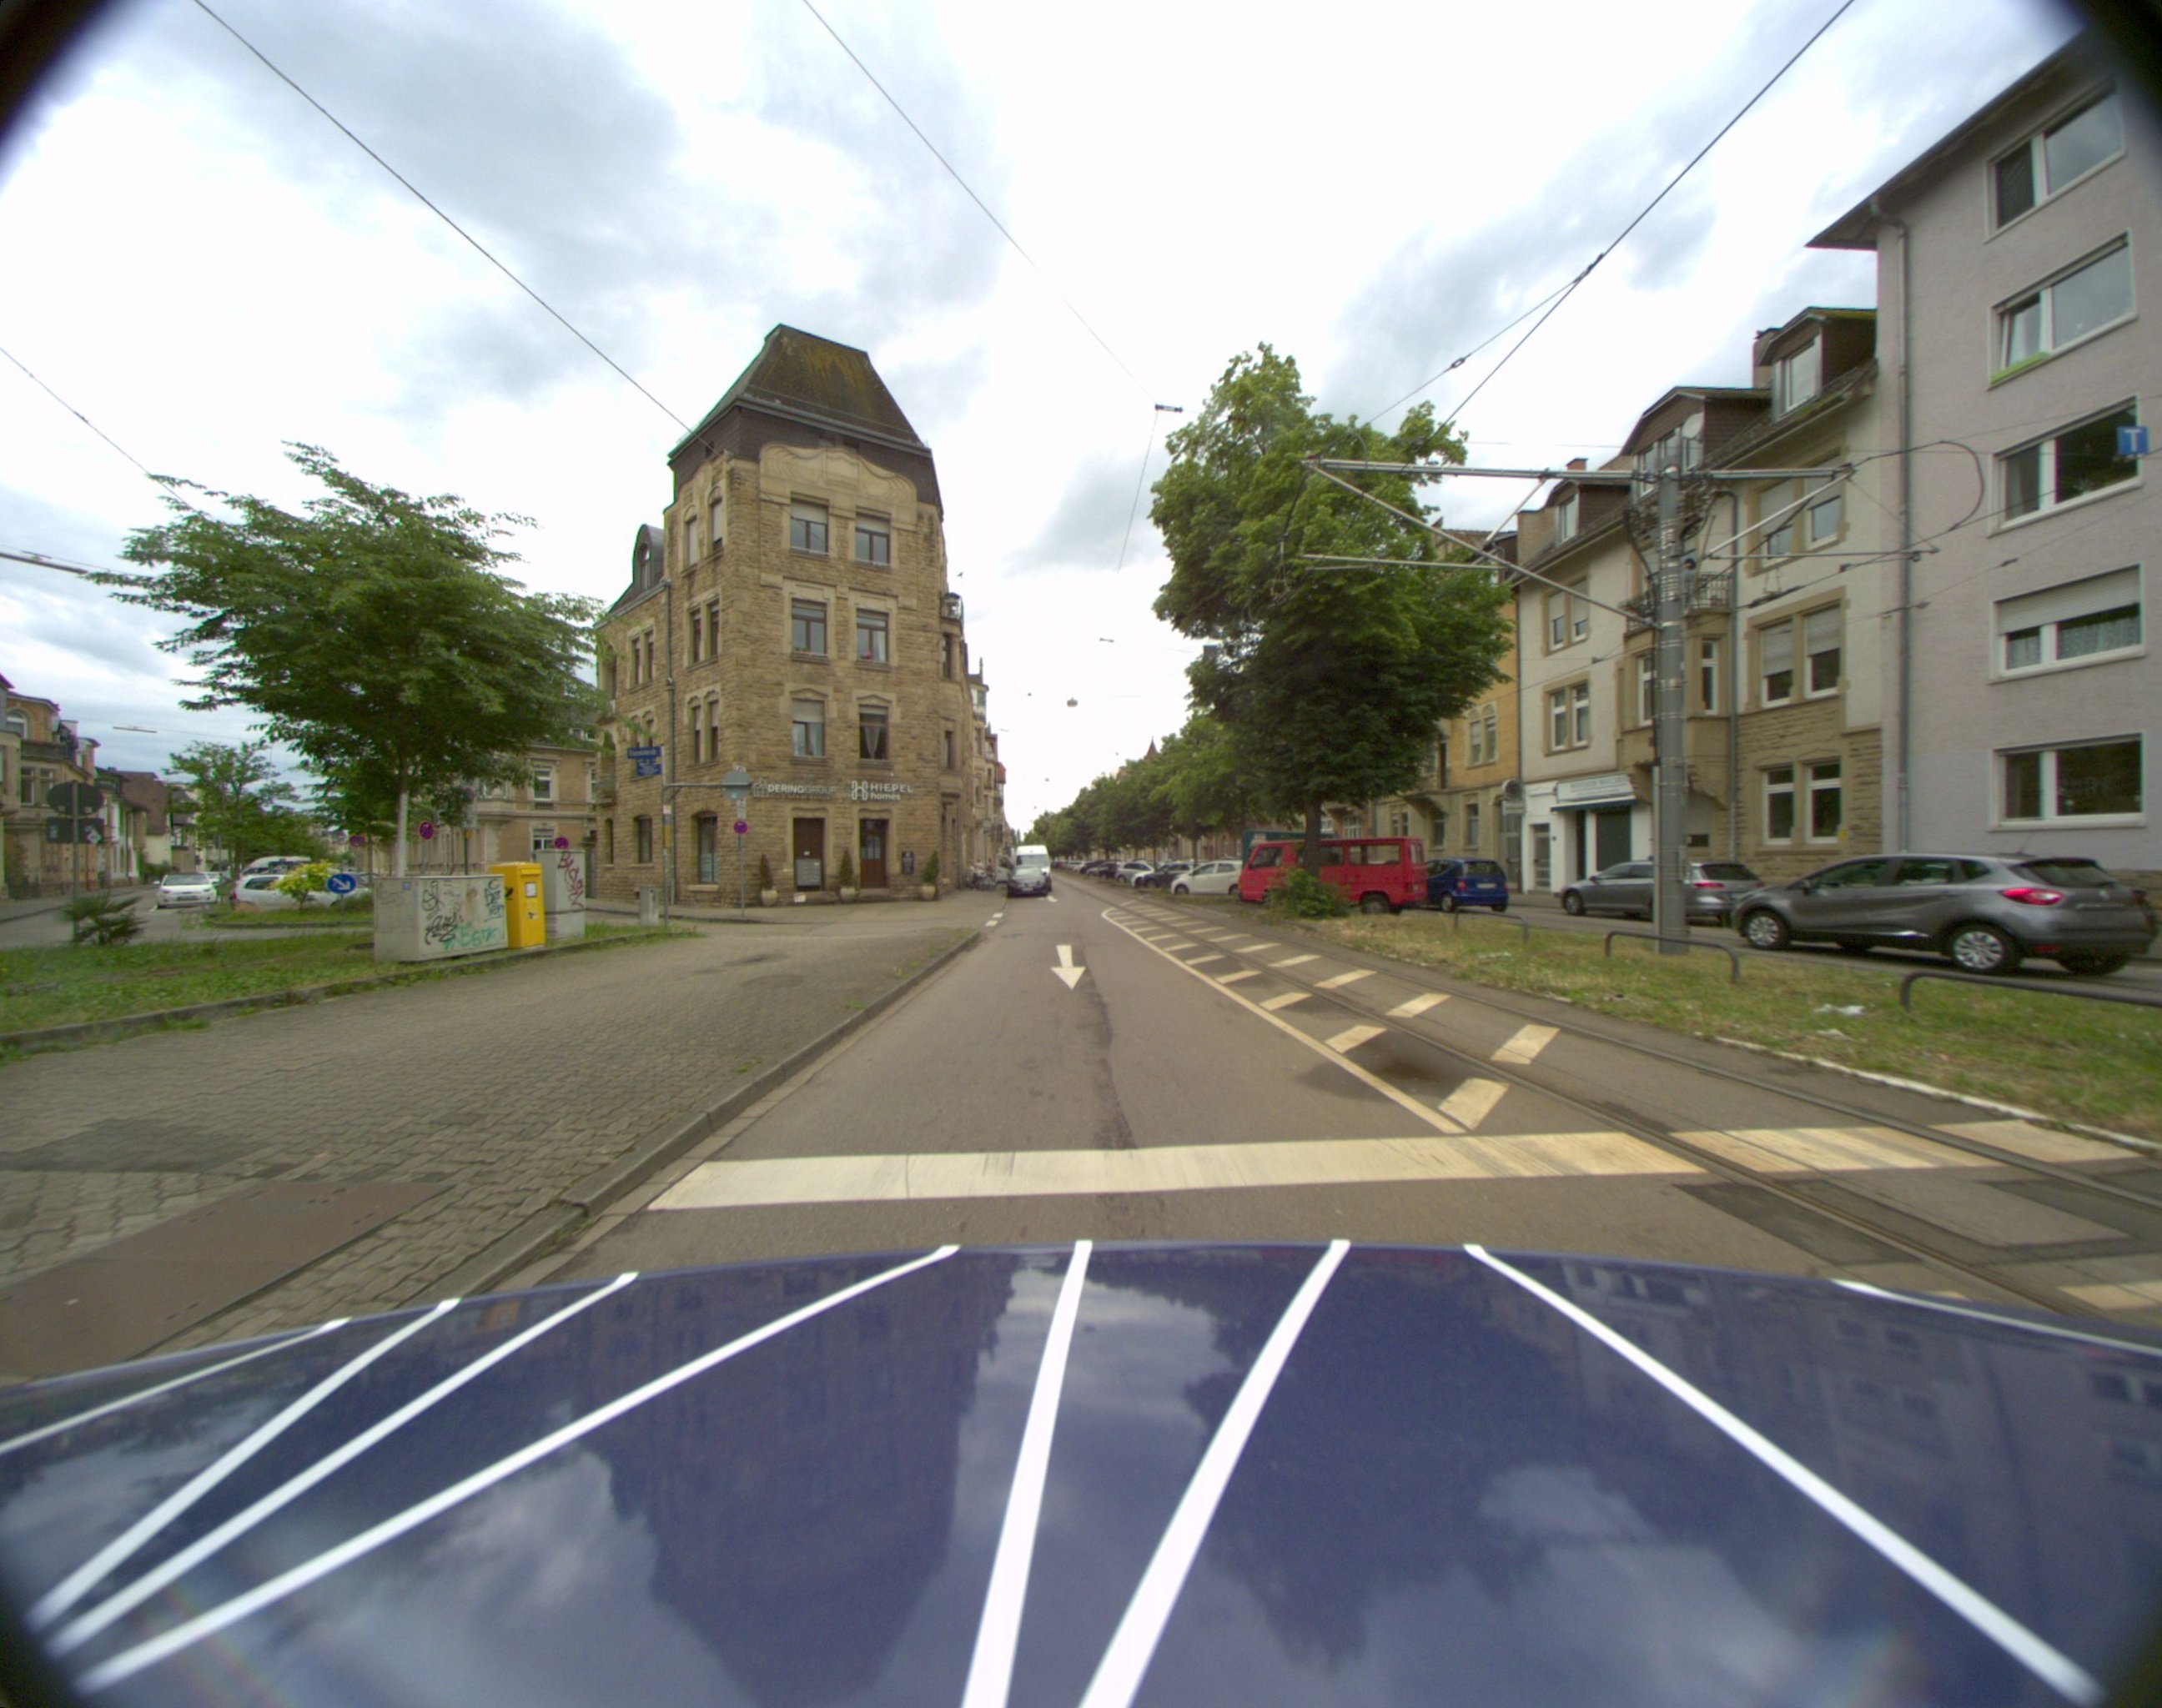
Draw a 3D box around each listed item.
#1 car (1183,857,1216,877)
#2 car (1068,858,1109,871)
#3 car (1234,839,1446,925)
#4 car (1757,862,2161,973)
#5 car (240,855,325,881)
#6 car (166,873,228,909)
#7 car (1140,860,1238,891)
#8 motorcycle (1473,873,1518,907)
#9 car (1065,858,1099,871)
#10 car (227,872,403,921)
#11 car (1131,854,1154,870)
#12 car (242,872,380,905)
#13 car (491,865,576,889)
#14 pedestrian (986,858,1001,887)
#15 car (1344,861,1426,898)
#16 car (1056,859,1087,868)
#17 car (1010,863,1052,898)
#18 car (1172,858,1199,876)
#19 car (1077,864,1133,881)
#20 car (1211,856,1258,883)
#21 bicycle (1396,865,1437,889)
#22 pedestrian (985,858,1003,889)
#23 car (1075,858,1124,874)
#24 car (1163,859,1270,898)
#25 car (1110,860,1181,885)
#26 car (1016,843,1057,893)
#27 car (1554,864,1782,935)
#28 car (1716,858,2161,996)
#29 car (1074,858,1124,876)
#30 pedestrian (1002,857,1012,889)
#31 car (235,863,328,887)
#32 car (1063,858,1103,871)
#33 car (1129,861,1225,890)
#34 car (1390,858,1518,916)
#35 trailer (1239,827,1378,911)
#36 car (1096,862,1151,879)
[{"bbox_3d":[10.219,1.090,65.848,1.745,1.617,4.551,-1,0,-5],"label":"car"},{"bbox_3d":[0.807,1.172,82.537,4.118,1.304,1.867,-2,0,39],"label":"car"},{"bbox_3d":[6.540,0.658,19.404,4.754,1.962,1.963,-1,0,34],"label":"car"},{"bbox_3d":[14.349,0.879,12.653,1.639,1.434,4.760,-1,0,-6],"label":"car"},{"bbox_3d":[-77.761,1.331,74.104,5.327,2.488,2.346,0,0,-11],"label":"car"},{"bbox_3d":[-40.025,1.634,34.433,4.031,1.425,1.759,0,0,41],"label":"car"},{"bbox_3d":[5.238,1.028,37.104,4.328,1.426,1.903,-1,0,38],"label":"car"},{"bbox_3d":[13.839,1.172,25.414,0.710,1.032,2.232,-1,0,12],"label":"motorcycle"},{"bbox_3d":[0.092,1.401,100.311,4.195,1.600,1.728,0,1,37],"label":"car"},{"bbox_3d":[-24.235,1.322,24.201,3.545,1.425,1.705,1,0,-16],"label":"car"},{"bbox_3d":[6.260,0.787,77.462,1.649,1.495,3.881,-1,0,-5],"label":"car"},{"bbox_3d":[-35.206,1.579,34.874,4.047,1.425,1.752,1,0,-19],"label":"car"},{"bbox_3d":[-33.618,1.387,46.714,4.053,1.425,1.750,1,0,-44],"label":"car"},{"bbox_3d":[-5.126,1.102,44.685,0.706,1.690,0.491,2,0,-32],"label":"pedestrian"},{"bbox_3d":[13.083,1.057,32.982,1.639,1.434,3.921,-1,0,-6],"label":"car"},{"bbox_3d":[-1.505,1.493,118.215,4.595,1.458,1.890,-1,0,41],"label":"car"},{"bbox_3d":[-2.404,1.224,36.547,1.829,1.441,5.005,-2,0,-3],"label":"car"},{"bbox_3d":[9.702,1.174,70.646,1.667,1.550,3.720,-1,0,-5],"label":"car"},{"bbox_3d":[2.016,1.546,64.794,4.655,1.360,1.761,-1,0,38],"label":"car"},{"bbox_3d":[10.741,1.018,53.429,1.819,1.771,5.115,-1,0,-5],"label":"car"},{"bbox_3d":[15.717,1.066,35.673,0.713,1.066,2.258,-1,0,-6],"label":"bicycle"},{"bbox_3d":[-4.874,1.109,42.656,0.866,1.690,0.537,2,0,-19],"label":"pedestrian"},{"bbox_3d":[1.815,1.165,75.080,4.529,1.481,2.040,-1,0,39],"label":"car"},{"bbox_3d":[5.370,0.953,30.390,3.852,1.454,1.693,-1,0,38],"label":"car"},{"bbox_3d":[4.034,1.149,48.074,4.106,1.475,1.801,-1,0,36],"label":"car"},{"bbox_3d":[-2.551,0.735,42.952,2.019,2.534,7.014,-2,0,-4],"label":"car"},{"bbox_3d":[13.824,0.977,18.303,1.639,1.434,4.568,-1,0,-6],"label":"car"},{"bbox_3d":[11.677,0.838,10.761,1.649,1.525,4.129,-1,0,-6],"label":"car"},{"bbox_3d":[1.703,1.203,71.174,4.520,1.623,1.769,-1,0,39],"label":"car"},{"bbox_3d":[-4.286,1.080,44.006,0.500,1.804,0.803,2,0,-3],"label":"pedestrian"},{"bbox_3d":[-71.060,1.856,67.630,5.327,2.011,2.346,0,0,-11],"label":"car"},{"bbox_3d":[0.234,1.268,89.427,4.552,1.484,1.867,-1,0,41],"label":"car"},{"bbox_3d":[5.054,1.109,40.279,4.675,1.426,1.903,-1,0,35],"label":"car"},{"bbox_3d":[10.834,0.897,22.361,1.649,1.525,3.627,-1,0,-7],"label":"car"},{"bbox_3d":[6.805,0.435,22.764,3.661,2.330,1.935,-1,0,28],"label":"trailer"},{"bbox_3d":[3.254,1.249,58.304,3.951,1.195,1.672,-1,0,39],"label":"car"}]
